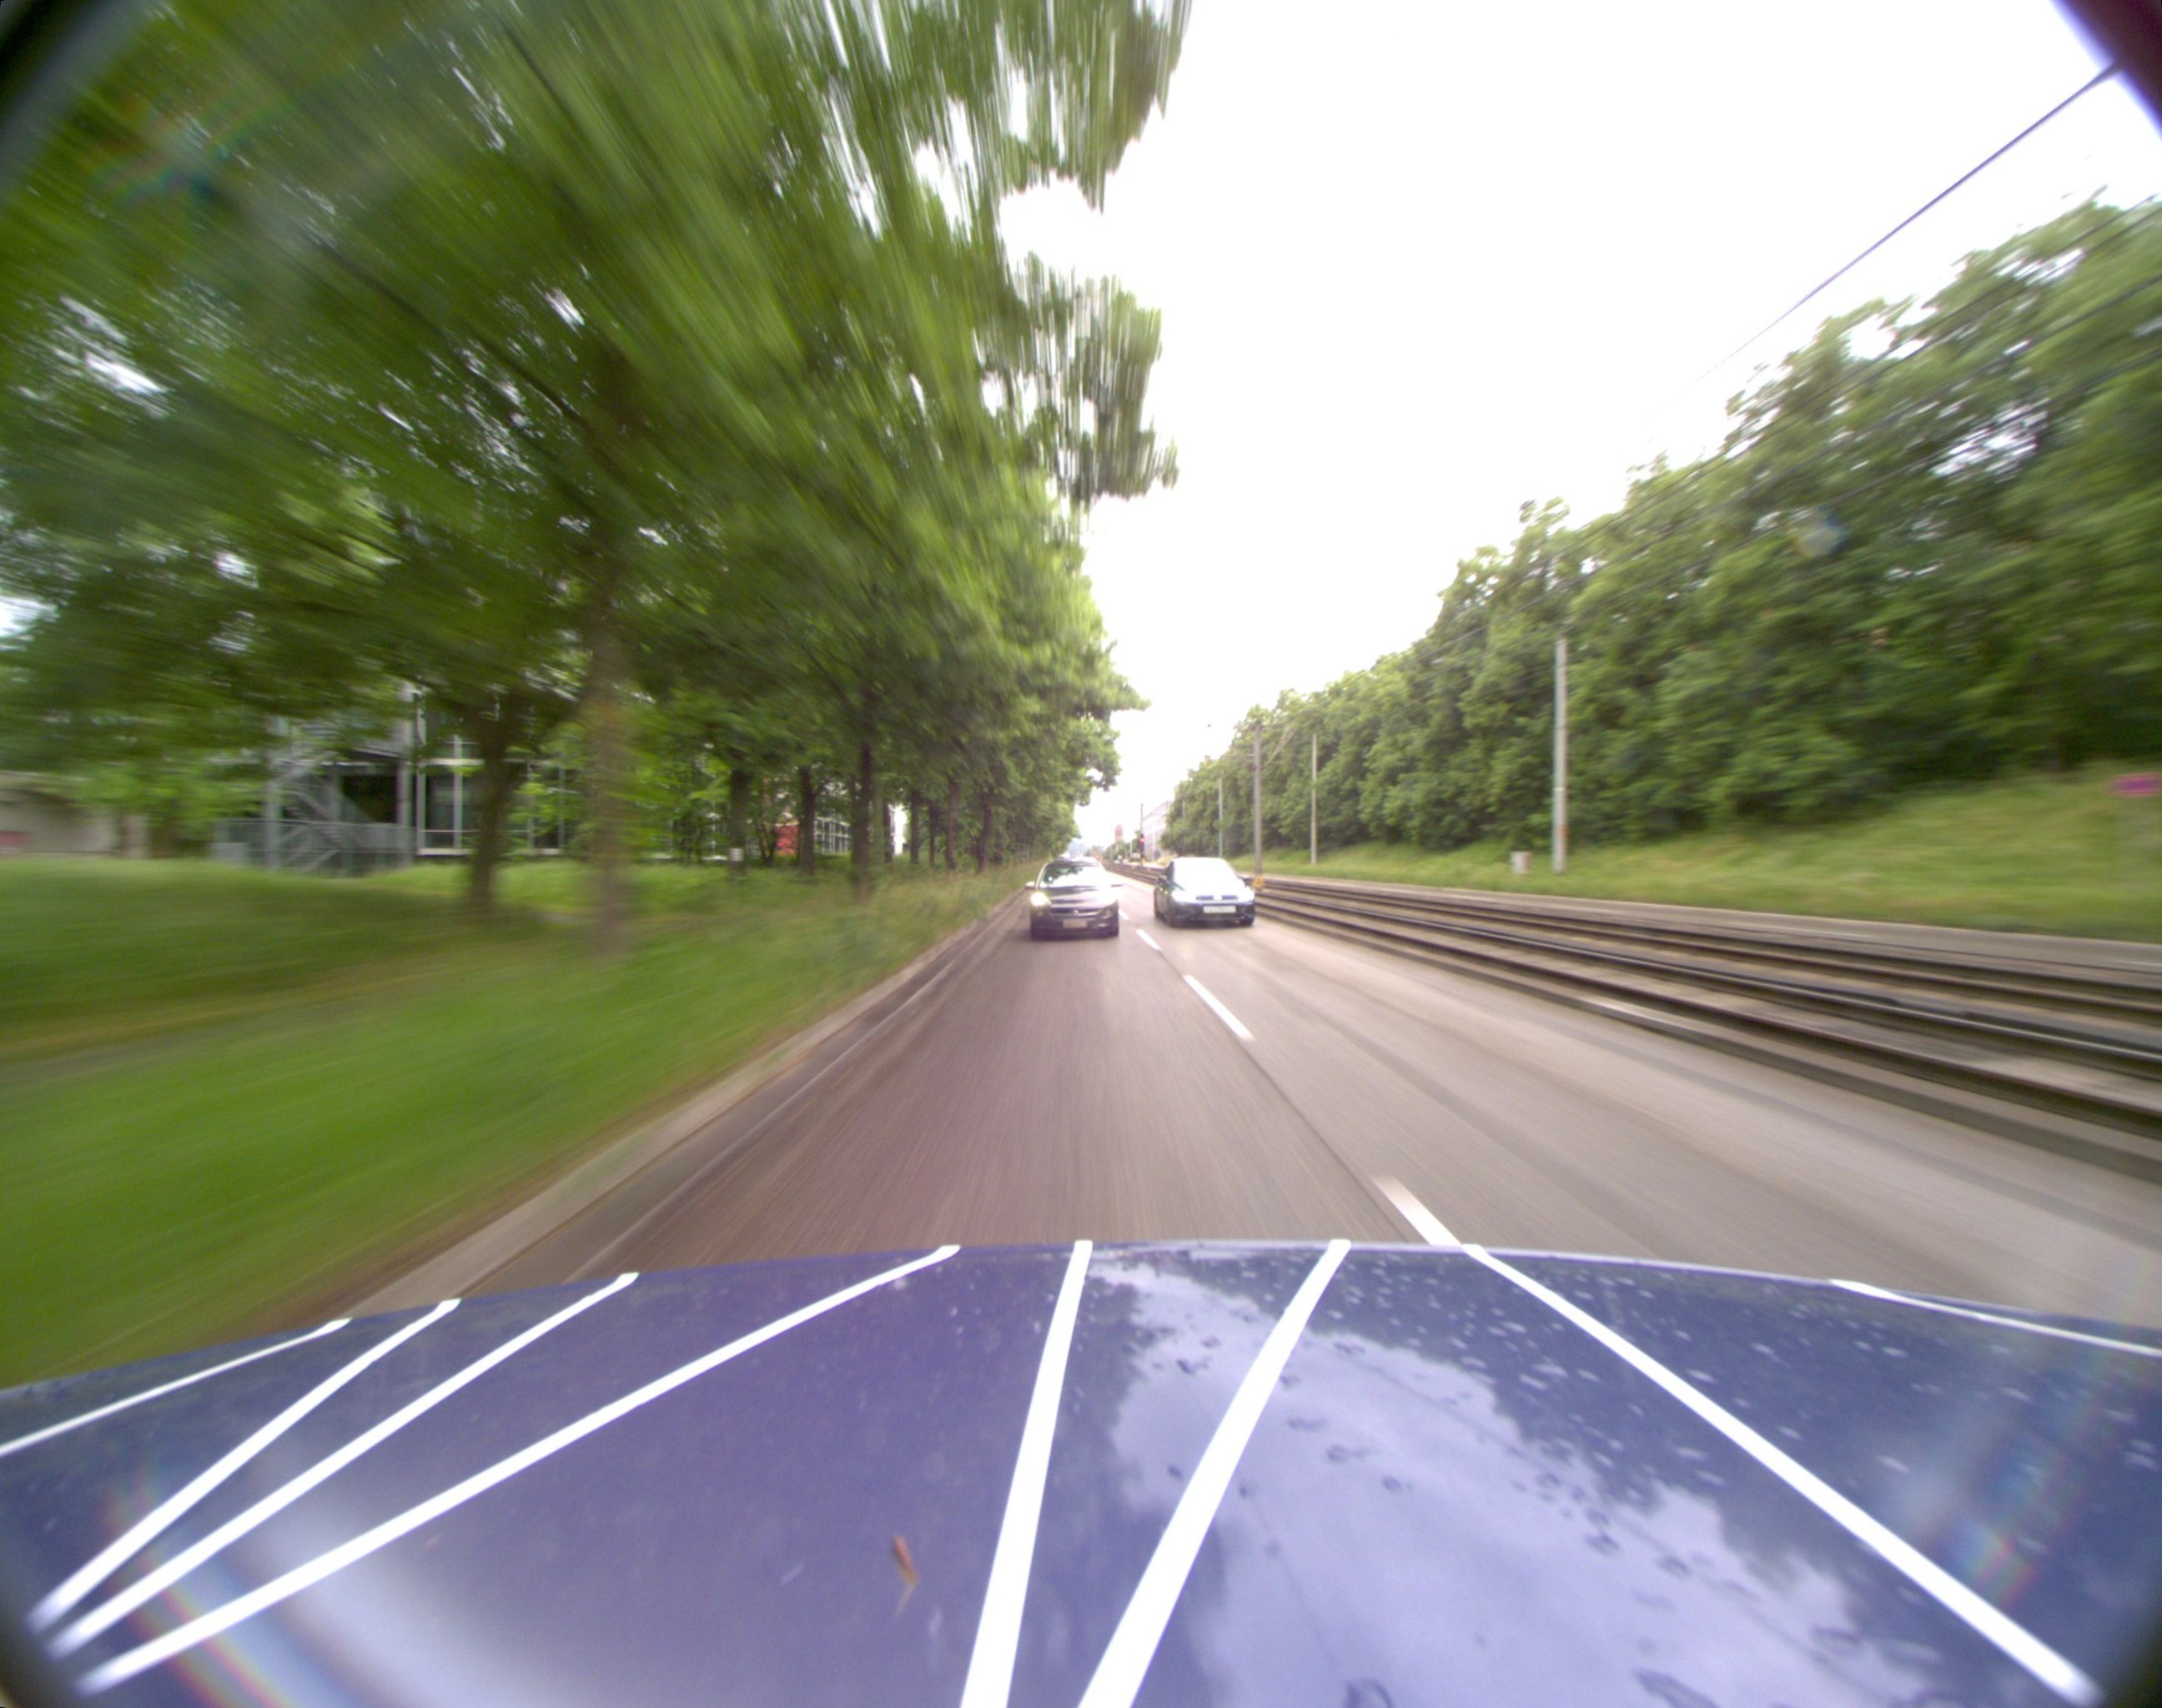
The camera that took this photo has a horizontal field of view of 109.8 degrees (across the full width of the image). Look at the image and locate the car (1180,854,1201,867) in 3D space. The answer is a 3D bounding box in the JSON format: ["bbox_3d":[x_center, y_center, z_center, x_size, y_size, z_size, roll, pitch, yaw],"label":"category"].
[{"bbox_3d":[12.460,0.703,86.768,1.674,1.435,4.026,2,0,-2],"label":"car"}]

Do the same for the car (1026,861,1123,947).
[{"bbox_3d":[-0.114,0.928,15.961,1.698,1.439,4.420,-2,0,0],"label":"car"}]

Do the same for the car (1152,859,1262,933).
[{"bbox_3d":[2.711,0.850,17.131,1.771,1.439,3.833,-1,0,-1],"label":"car"}]

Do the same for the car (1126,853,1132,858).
[{"bbox_3d":[15.005,0.472,236.505,1.480,1.427,3.909,2,0,-1],"label":"car"}]
